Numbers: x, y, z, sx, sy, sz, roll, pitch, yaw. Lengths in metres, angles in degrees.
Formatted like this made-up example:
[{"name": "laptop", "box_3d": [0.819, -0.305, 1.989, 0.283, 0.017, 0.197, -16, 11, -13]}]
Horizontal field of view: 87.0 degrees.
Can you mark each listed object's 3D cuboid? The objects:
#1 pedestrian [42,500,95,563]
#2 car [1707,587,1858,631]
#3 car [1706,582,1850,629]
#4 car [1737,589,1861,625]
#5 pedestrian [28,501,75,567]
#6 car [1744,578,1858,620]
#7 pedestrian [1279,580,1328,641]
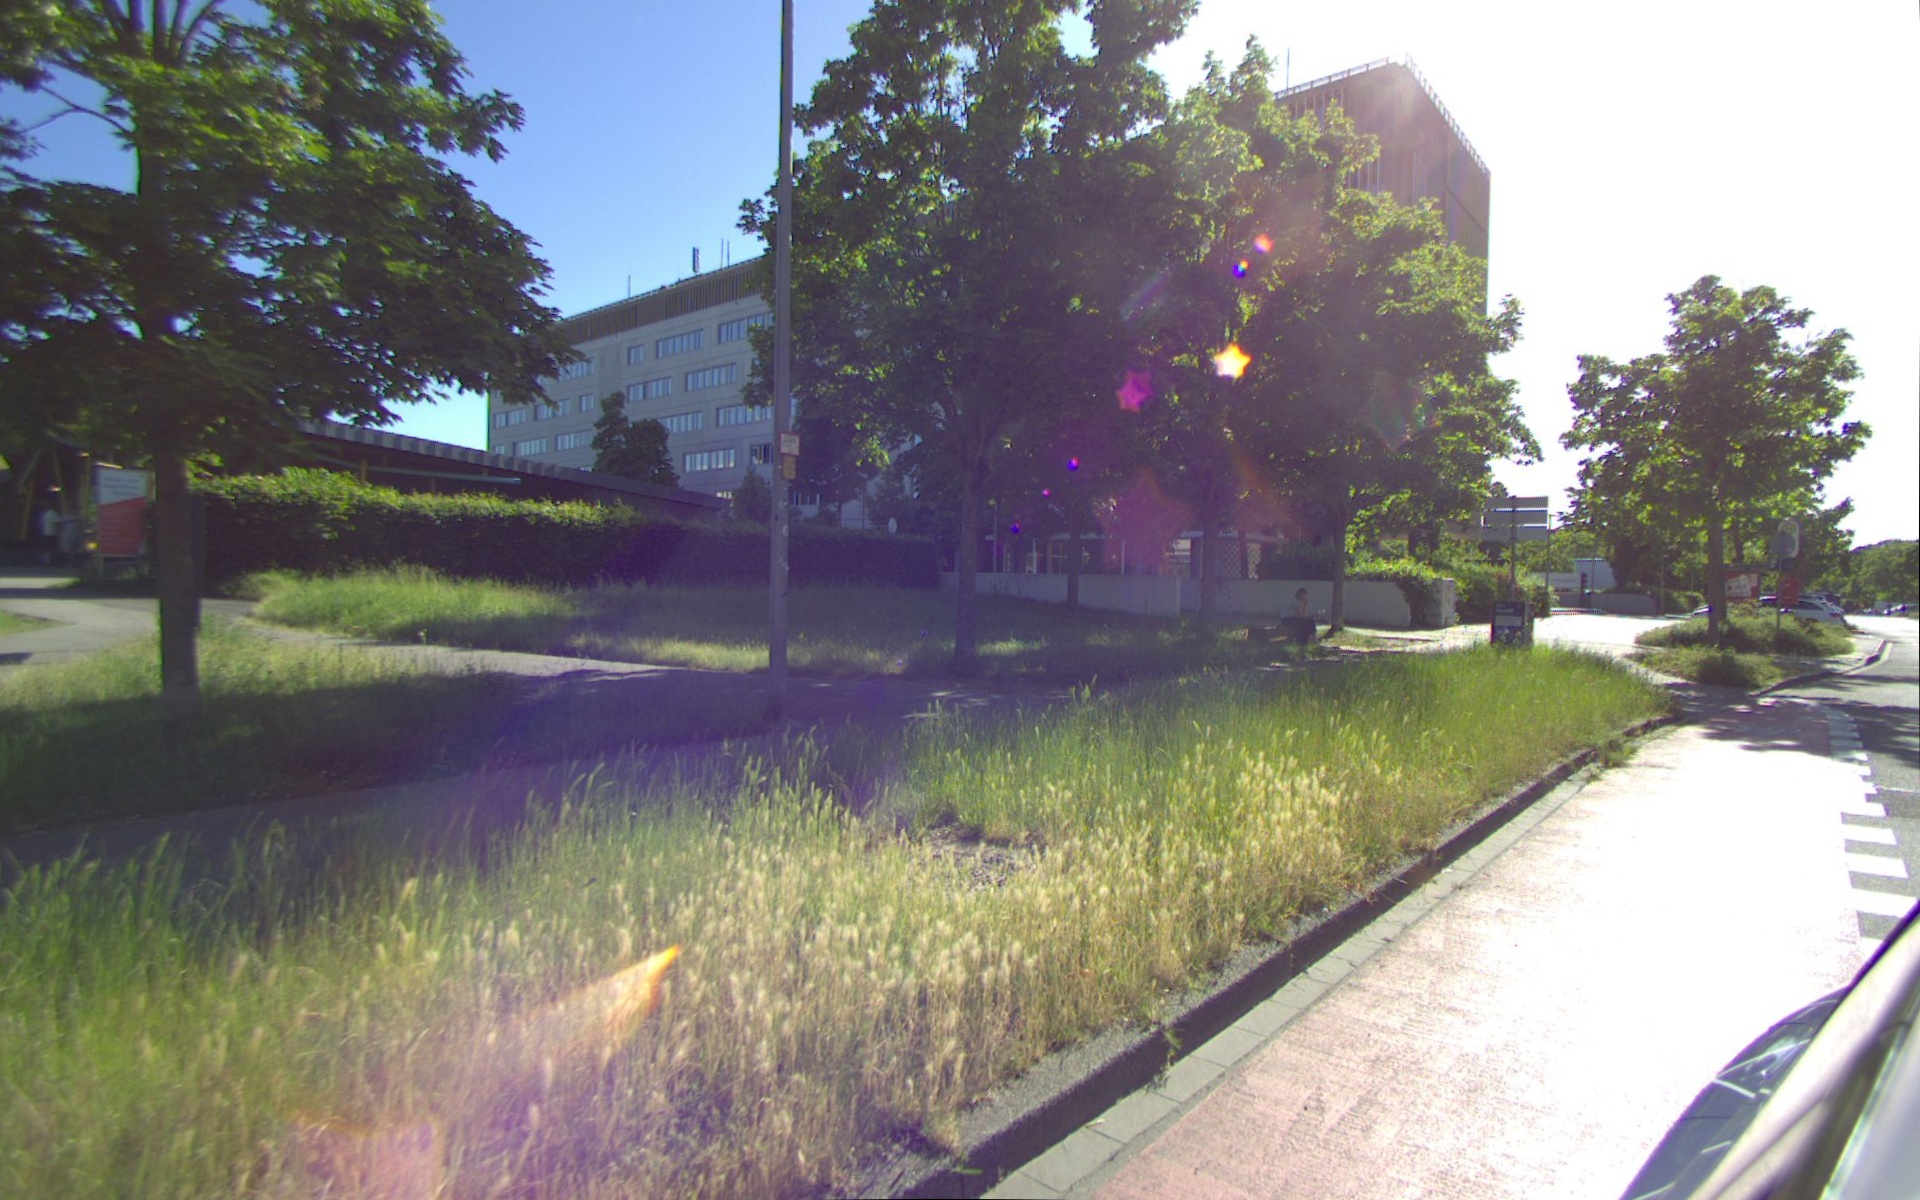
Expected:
[{"name": "pedestrian", "box_3d": [-25.970, -1.986, 29.488, 0.849, 1.801, 0.810, 1, 1, 13]}, {"name": "car", "box_3d": [31.744, 0.310, 39.154, 4.399, 1.481, 1.867, 3, 2, 41]}, {"name": "car", "box_3d": [33.059, 0.173, 40.997, 4.399, 1.661, 2.044, 3, 2, 41]}, {"name": "car", "box_3d": [39.533, 0.296, 47.769, 4.399, 1.427, 2.044, 3, 2, 41]}, {"name": "pedestrian", "box_3d": [-25.504, -1.834, 28.421, 0.809, 1.801, 0.850, 2, 1, 38]}, {"name": "car", "box_3d": [43.206, -0.080, 52.082, 4.399, 1.915, 2.044, 3, 2, 41]}, {"name": "pedestrian", "box_3d": [7.264, 0.201, 21.404, 0.840, 1.232, 0.721, 3, 2, 28]}]
